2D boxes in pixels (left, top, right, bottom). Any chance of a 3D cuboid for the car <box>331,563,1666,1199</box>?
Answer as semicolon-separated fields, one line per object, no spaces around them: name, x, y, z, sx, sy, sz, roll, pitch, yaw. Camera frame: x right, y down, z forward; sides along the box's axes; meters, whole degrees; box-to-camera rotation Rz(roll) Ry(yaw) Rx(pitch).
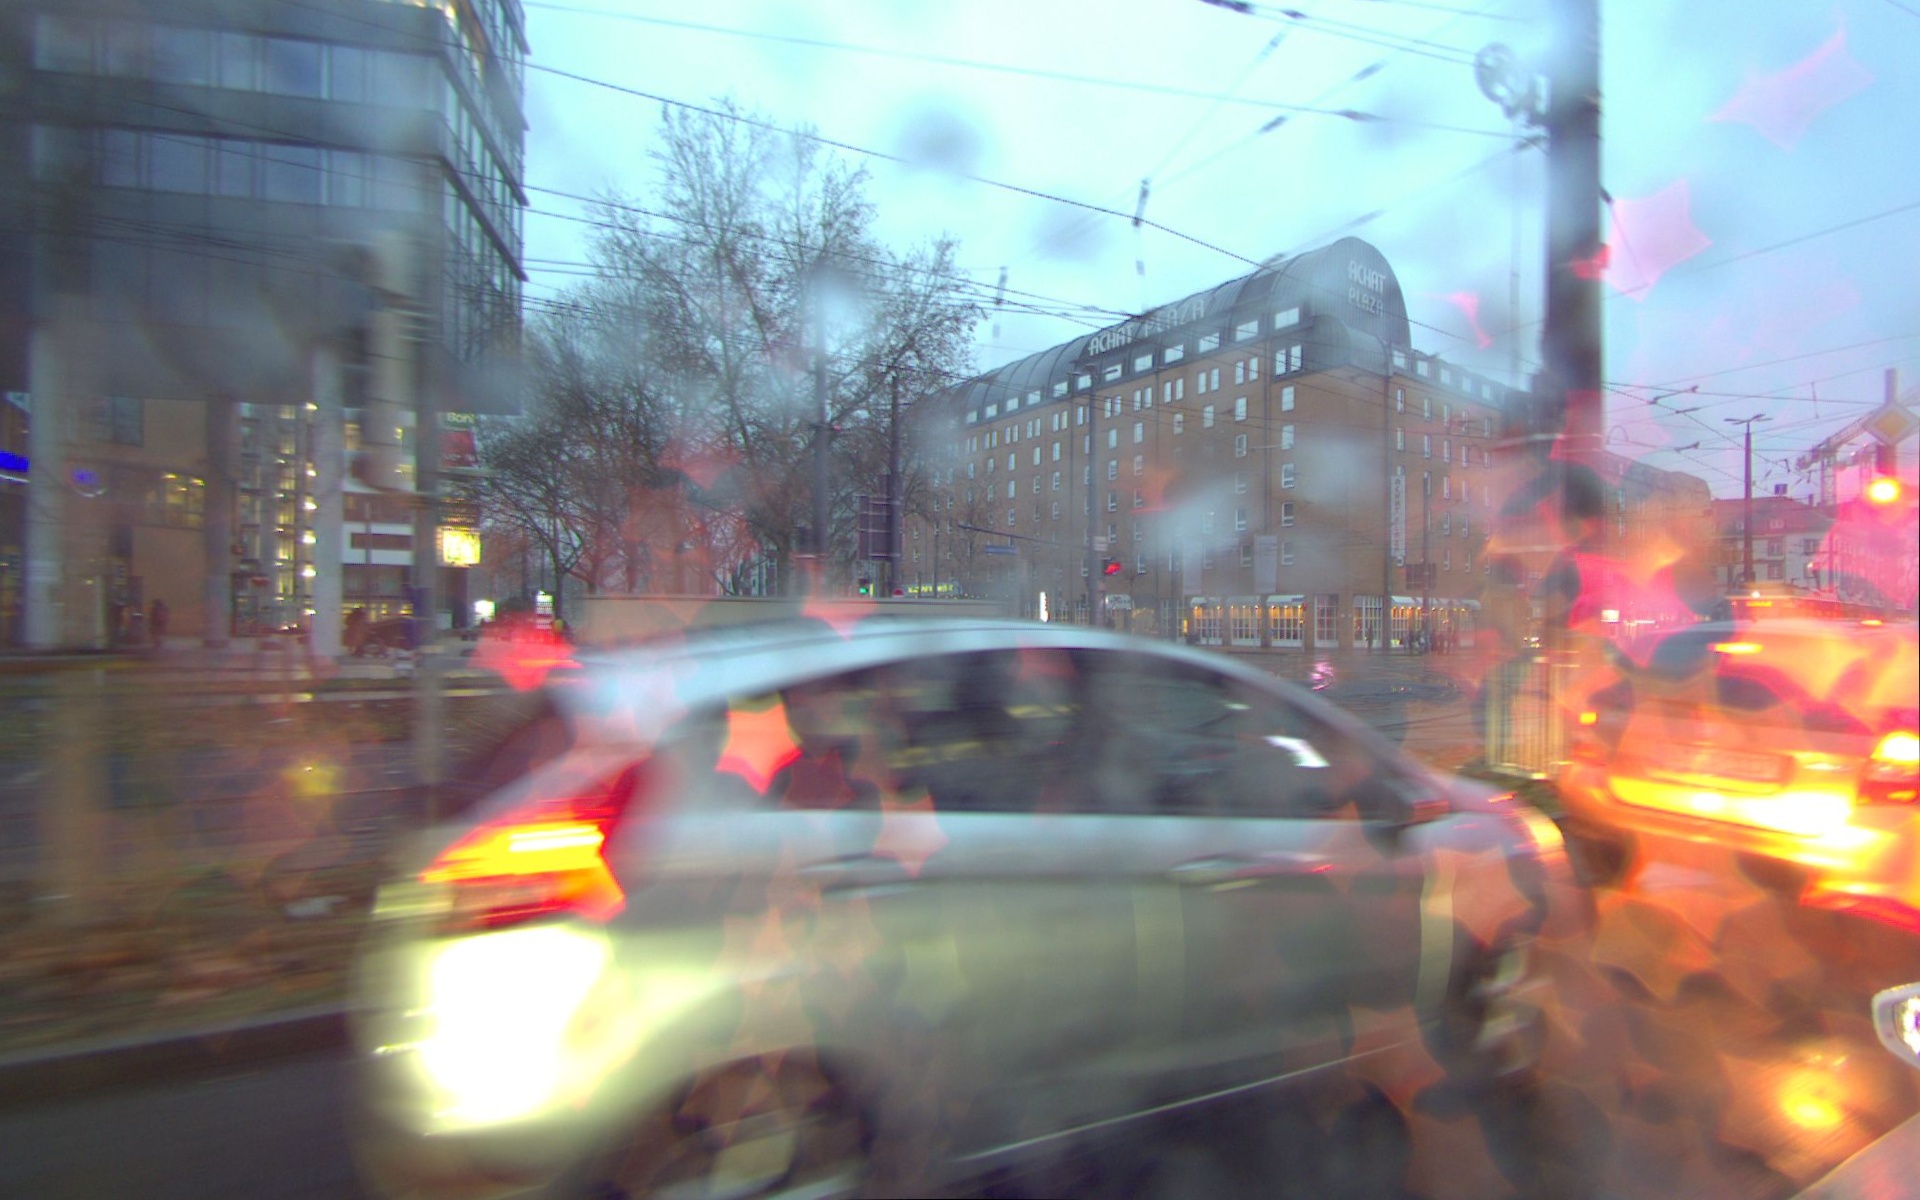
car;0.341;0.720;3.255;3.954;1.467;1.697;2;0;-31

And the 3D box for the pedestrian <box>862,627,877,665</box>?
pedestrian;-4.241;2.158;47.196;0.679;1.728;0.526;0;-2;-6

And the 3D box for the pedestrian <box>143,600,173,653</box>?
pedestrian;-27.128;0.909;33.989;0.696;1.775;0.566;1;-1;-33

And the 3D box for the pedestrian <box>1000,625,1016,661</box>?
pedestrian;2.404;2.142;50.456;0.621;1.781;0.567;-1;-2;29

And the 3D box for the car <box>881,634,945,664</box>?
car;-2.507;2.522;52.627;1.974;1.446;3.973;1;-1;-27

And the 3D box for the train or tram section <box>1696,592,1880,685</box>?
train or tram section;39.212;1.772;46.997;19.902;3.662;2.841;2;-2;-39

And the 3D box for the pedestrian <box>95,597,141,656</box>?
pedestrian;-25.741;0.822;30.718;0.690;1.775;0.794;0;-1;18

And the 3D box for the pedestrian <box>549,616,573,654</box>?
pedestrian;-18.685;1.632;47.021;0.804;1.783;0.735;0;-2;-1

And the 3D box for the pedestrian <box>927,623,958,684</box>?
pedestrian;-0.440;1.361;25.766;0.608;1.532;0.516;1;-1;-36

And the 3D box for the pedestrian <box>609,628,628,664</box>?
pedestrian;-13.900;1.872;40.890;0.675;1.478;0.569;1;-2;-24

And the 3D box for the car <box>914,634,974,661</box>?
car;-0.950;2.692;57.383;1.974;1.446;3.973;1;-1;-27

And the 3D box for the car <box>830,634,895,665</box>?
car;-4.892;2.416;49.967;1.974;1.446;3.973;1;-1;-27

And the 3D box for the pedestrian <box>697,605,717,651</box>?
pedestrian;-10.479;1.165;41.577;0.725;1.888;0.569;1;-2;-24

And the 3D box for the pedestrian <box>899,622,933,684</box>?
pedestrian;-1.116;1.319;25.325;0.640;1.532;0.556;1;-1;-39

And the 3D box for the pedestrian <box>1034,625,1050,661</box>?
pedestrian;4.120;2.176;50.673;0.621;1.781;0.567;-1;-2;29

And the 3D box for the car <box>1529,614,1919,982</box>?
car;5.096;0.848;5.633;3.713;1.478;1.690;1;-2;-30

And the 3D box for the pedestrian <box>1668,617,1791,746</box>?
pedestrian;10.083;1.059;13.196;1.016;1.621;0.716;-1;-3;11

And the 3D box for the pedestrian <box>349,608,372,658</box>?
pedestrian;-21.869;1.212;36.636;0.628;1.797;0.569;1;-2;-24

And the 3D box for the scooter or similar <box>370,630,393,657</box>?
scooter or similar;-21.264;1.605;36.905;0.657;0.973;0.550;1;-2;-24
